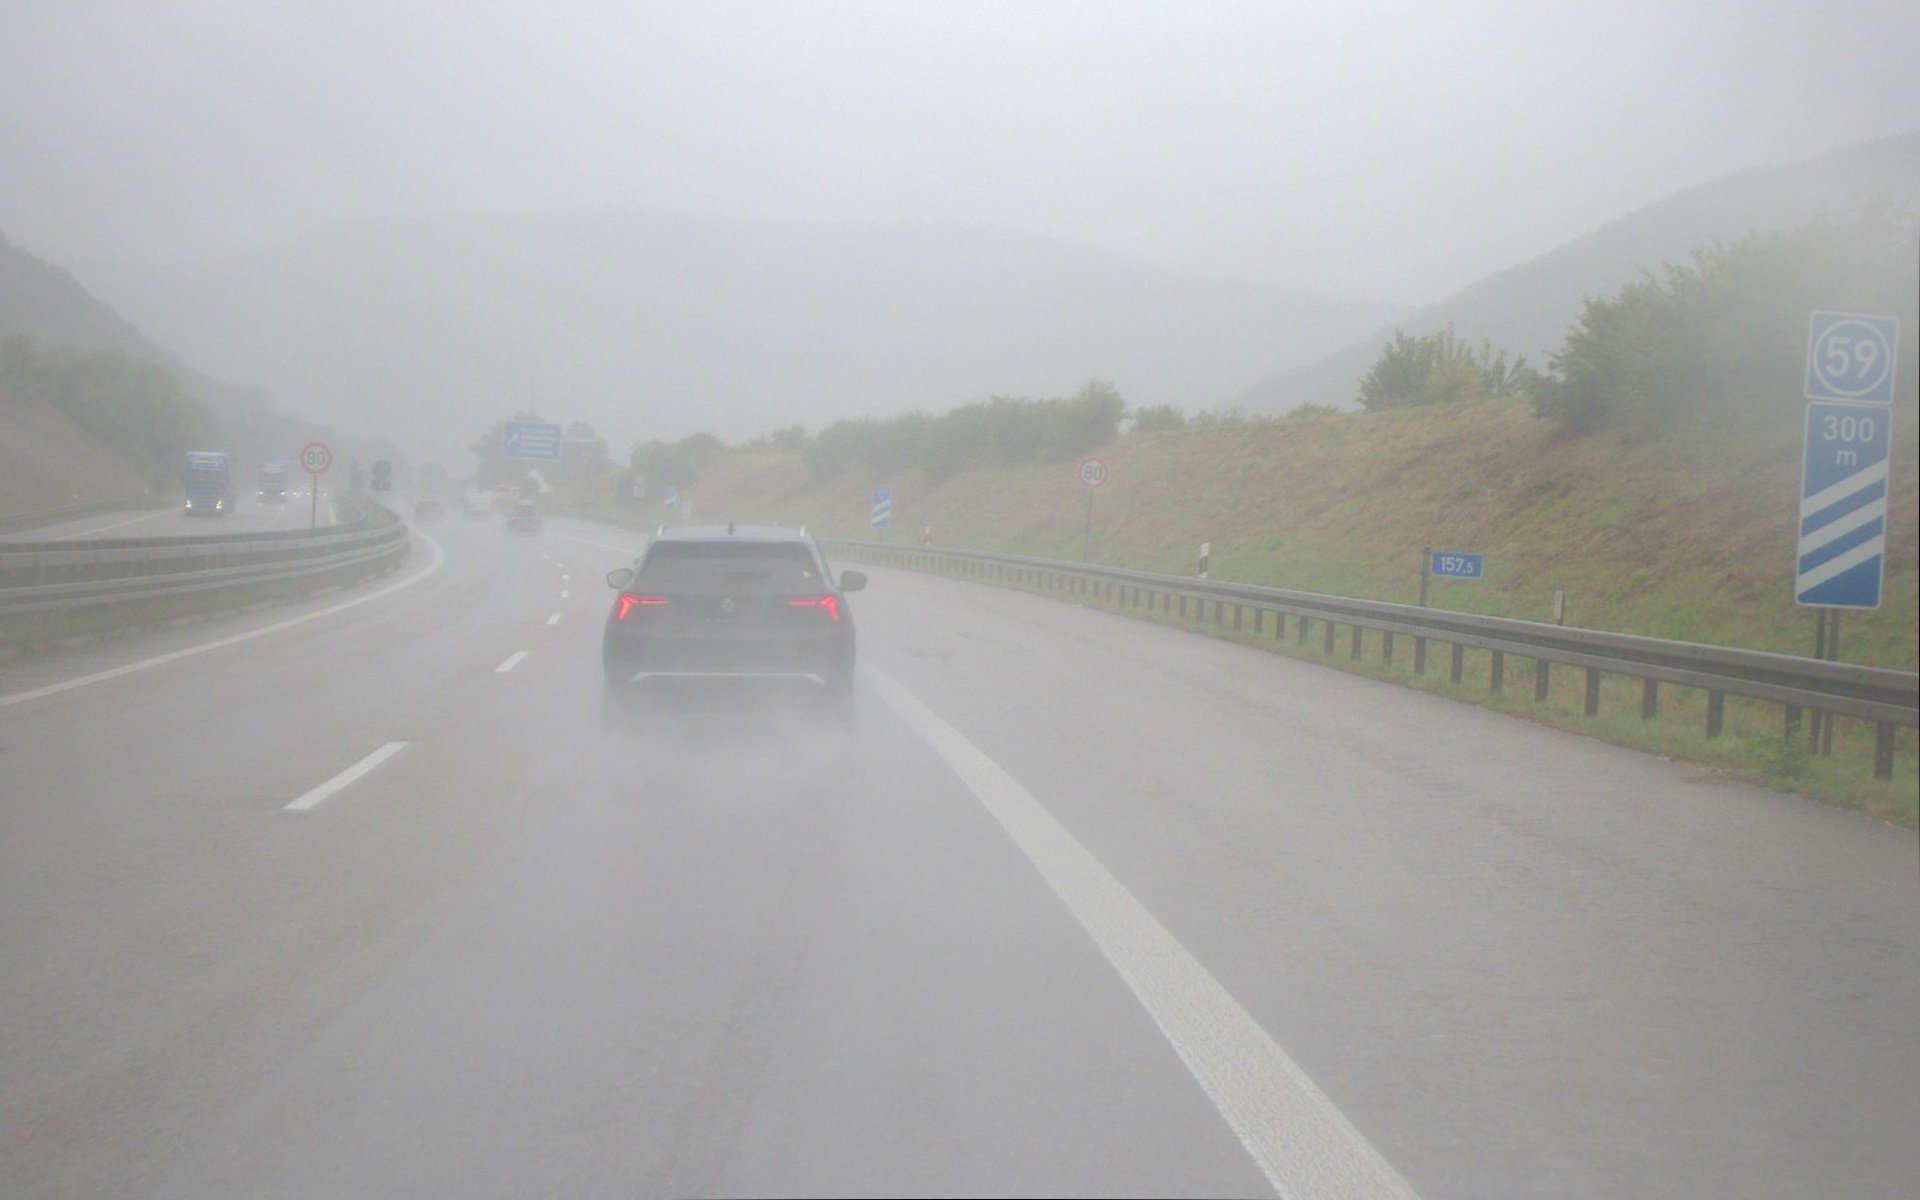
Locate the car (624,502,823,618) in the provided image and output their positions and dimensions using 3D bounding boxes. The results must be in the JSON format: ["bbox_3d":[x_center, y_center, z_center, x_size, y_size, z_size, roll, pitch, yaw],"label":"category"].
[{"bbox_3d":[-3.549,-0.571,50.400,2.665,1.510,5.719,2,0,-6],"label":"car"}]

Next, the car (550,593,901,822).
[{"bbox_3d":[-1.754,0.752,26.497,2.406,1.510,4.784,2,0,-3],"label":"car"}]
